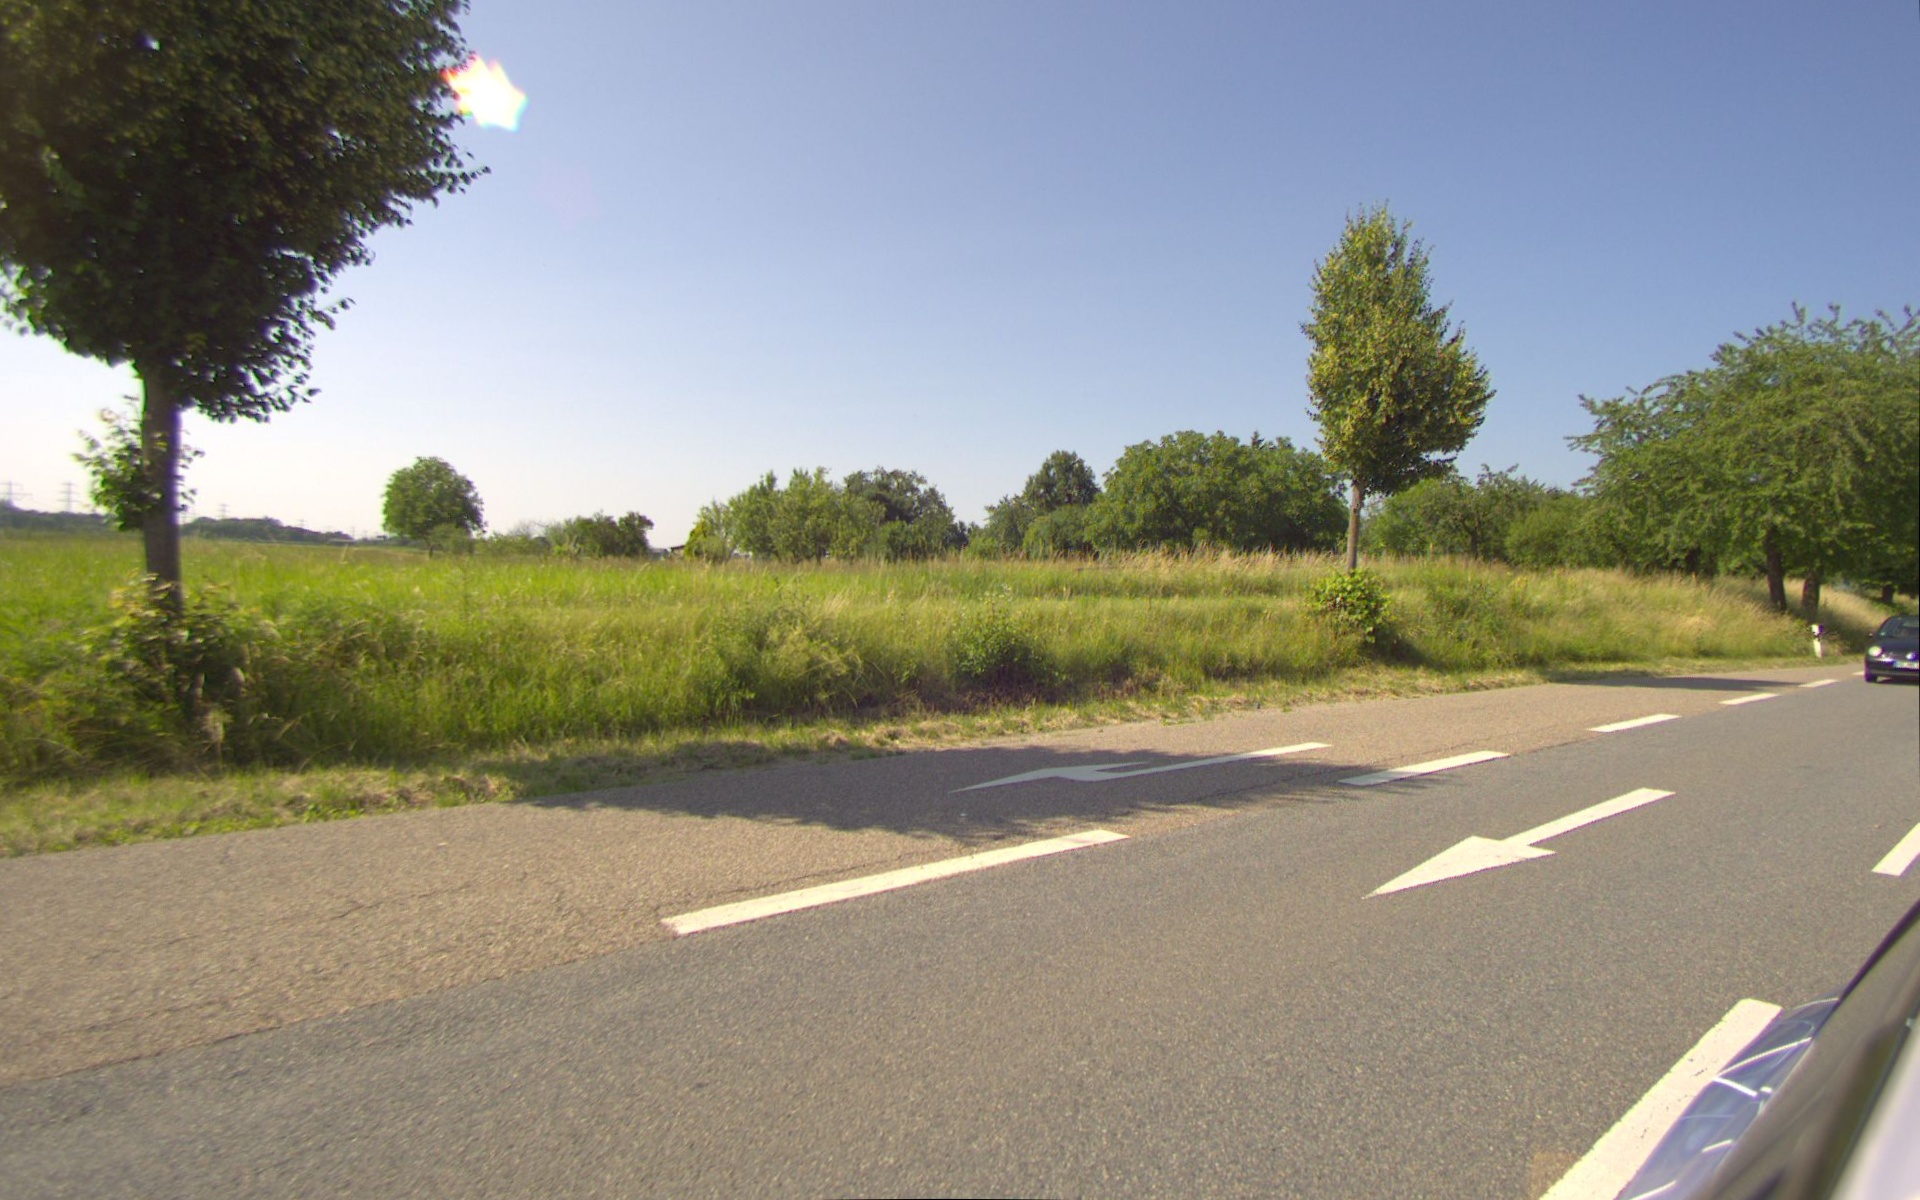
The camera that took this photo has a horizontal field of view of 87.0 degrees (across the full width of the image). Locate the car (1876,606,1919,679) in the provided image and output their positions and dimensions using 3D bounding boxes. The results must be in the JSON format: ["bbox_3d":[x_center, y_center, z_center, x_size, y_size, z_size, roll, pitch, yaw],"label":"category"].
[{"bbox_3d":[20.830,0.875,21.519,3.560,1.451,1.628,0,1,-42],"label":"car"}]
